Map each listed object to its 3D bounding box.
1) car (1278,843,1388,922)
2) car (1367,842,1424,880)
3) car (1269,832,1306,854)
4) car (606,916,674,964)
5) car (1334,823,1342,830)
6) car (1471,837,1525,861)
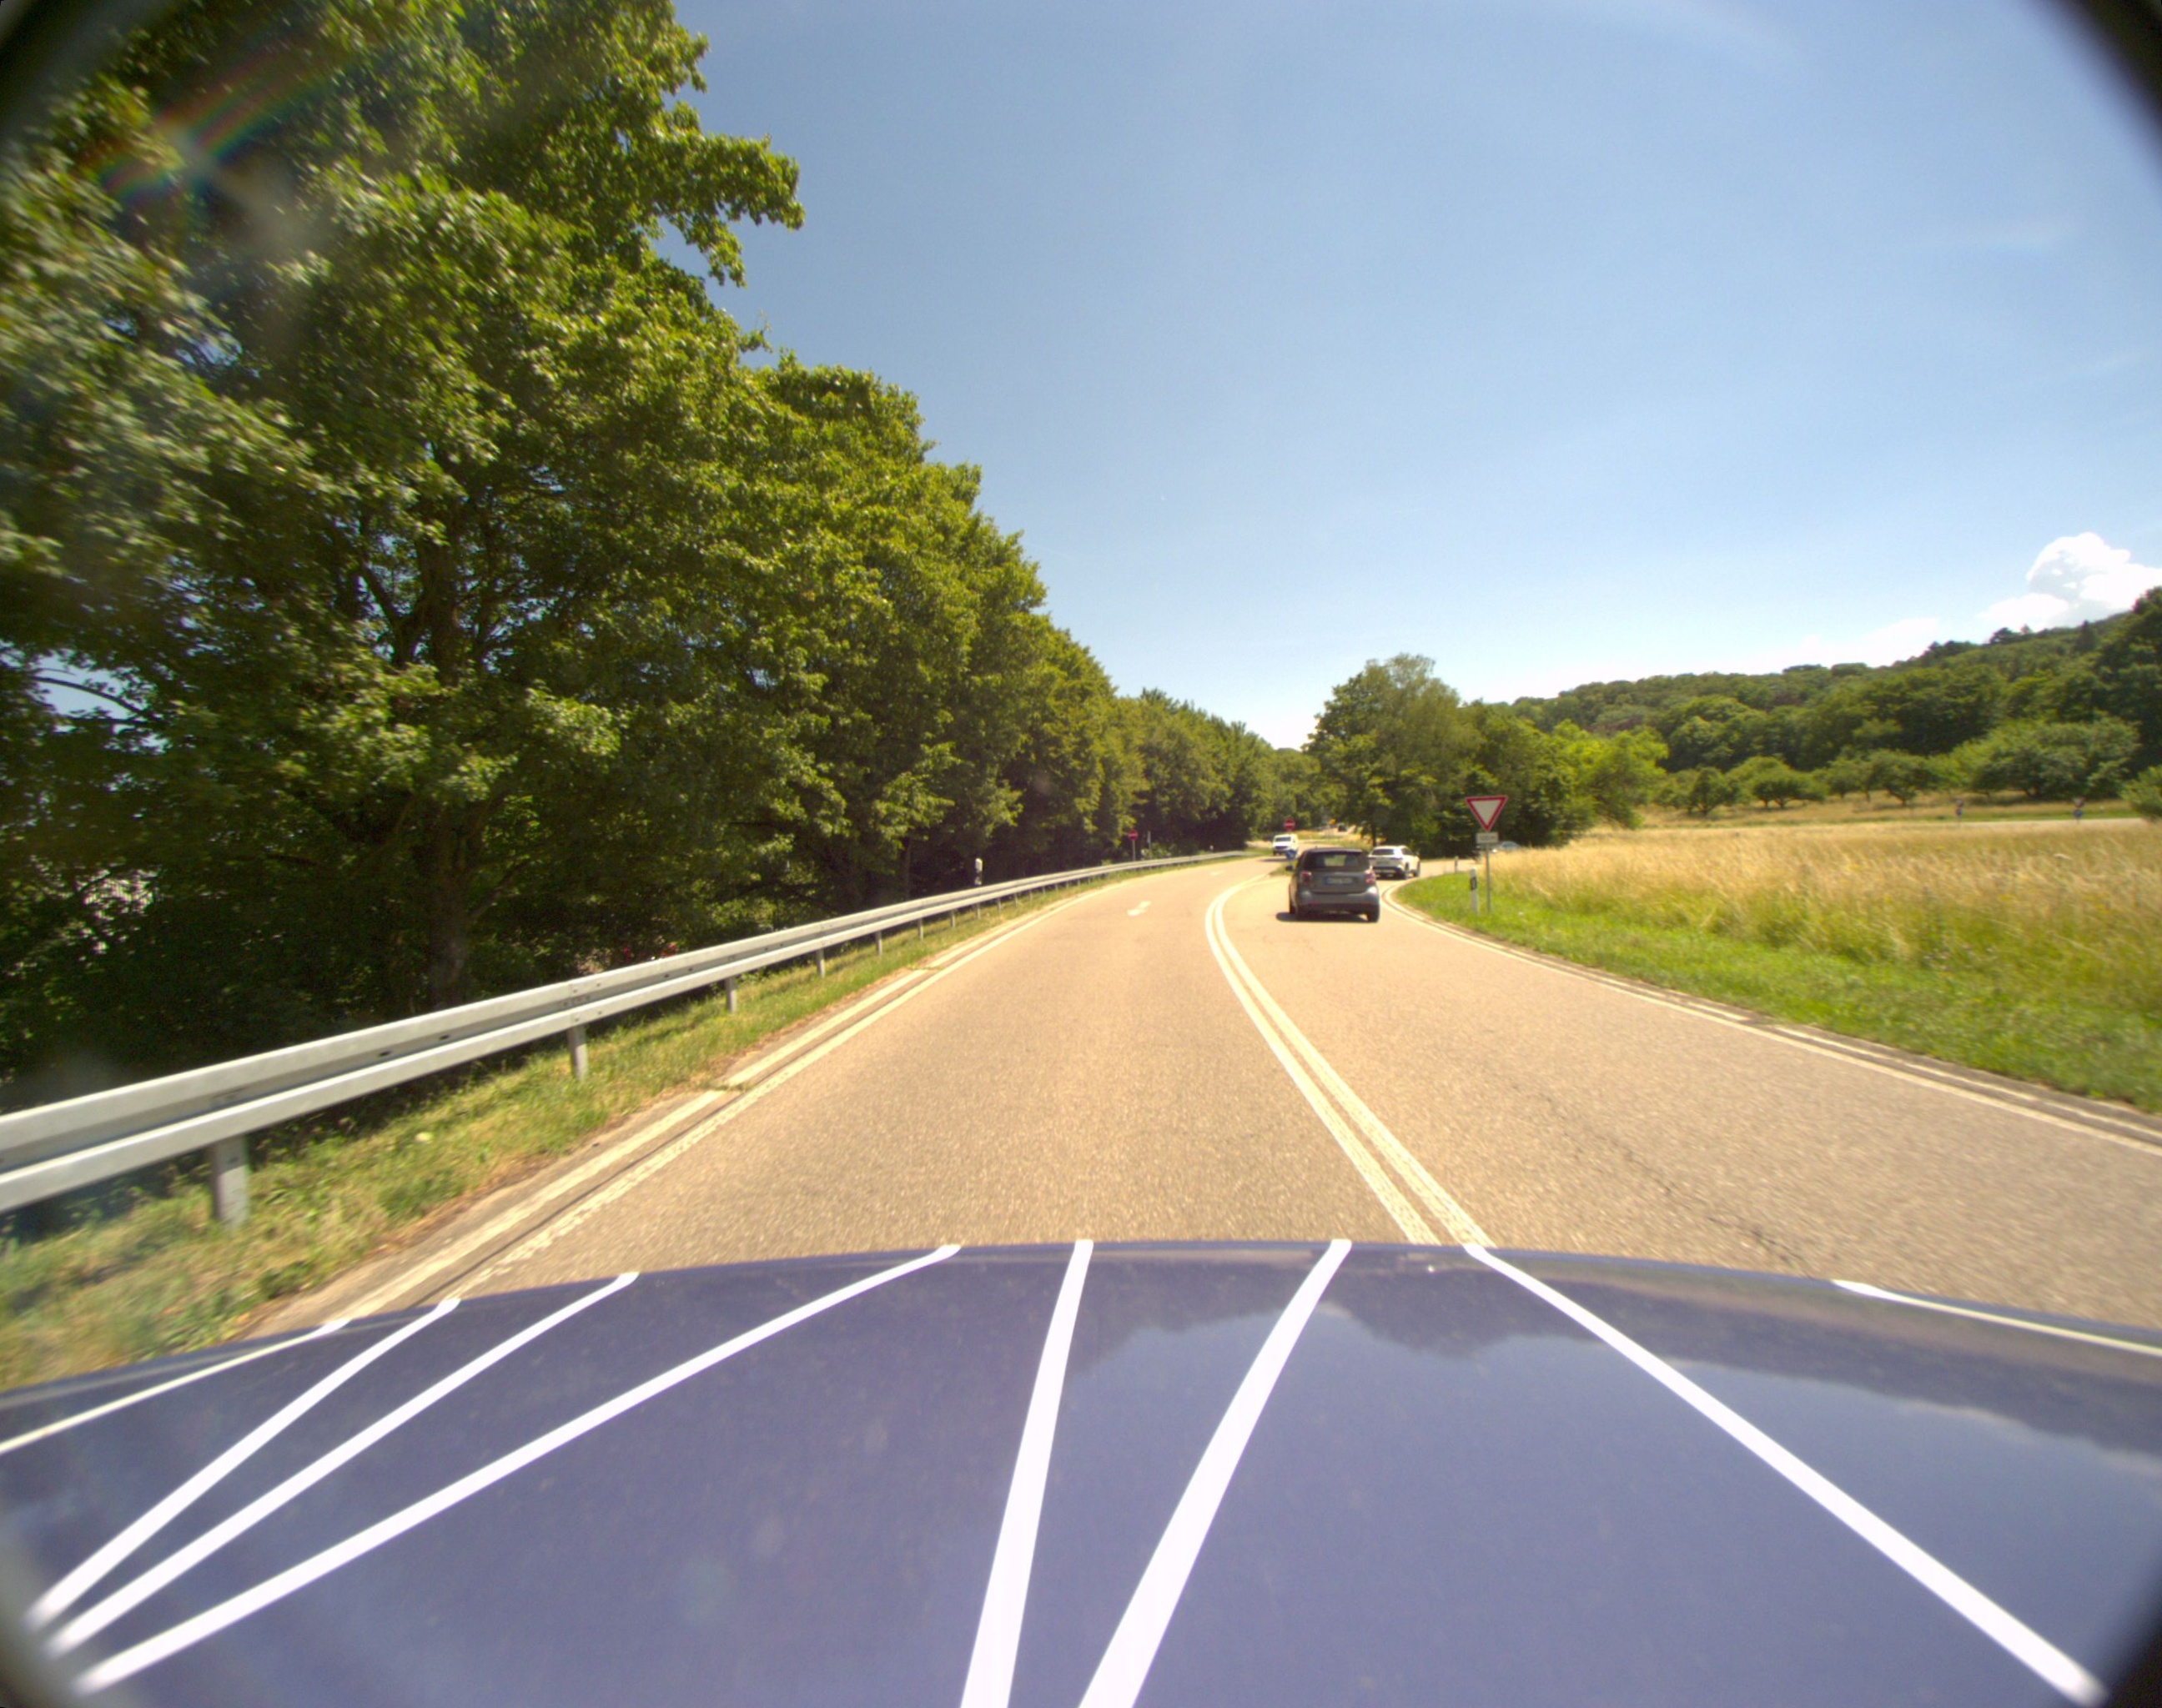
[{"bbox_3d":[5.556,0.555,17.207,1.738,1.498,4.075,-3,0,10],"label":"car"},{"bbox_3d":[15.141,0.286,36.459,1.823,1.582,4.225,3,3,32],"label":"car"},{"bbox_3d":[20.645,-1.148,75.748,2.220,2.021,5.436,-2,1,29],"label":"car"},{"bbox_3d":[-22.664,4.364,38.986,2.004,2.002,3.989,-4,1,-44],"label":"car"},{"bbox_3d":[52.919,-5.742,156.614,1.468,1.320,2.963,-2,4,18],"label":"car"},{"bbox_3d":[27.559,-0.342,50.141,4.667,1.498,1.802,-2,2,-44],"label":"car"}]
